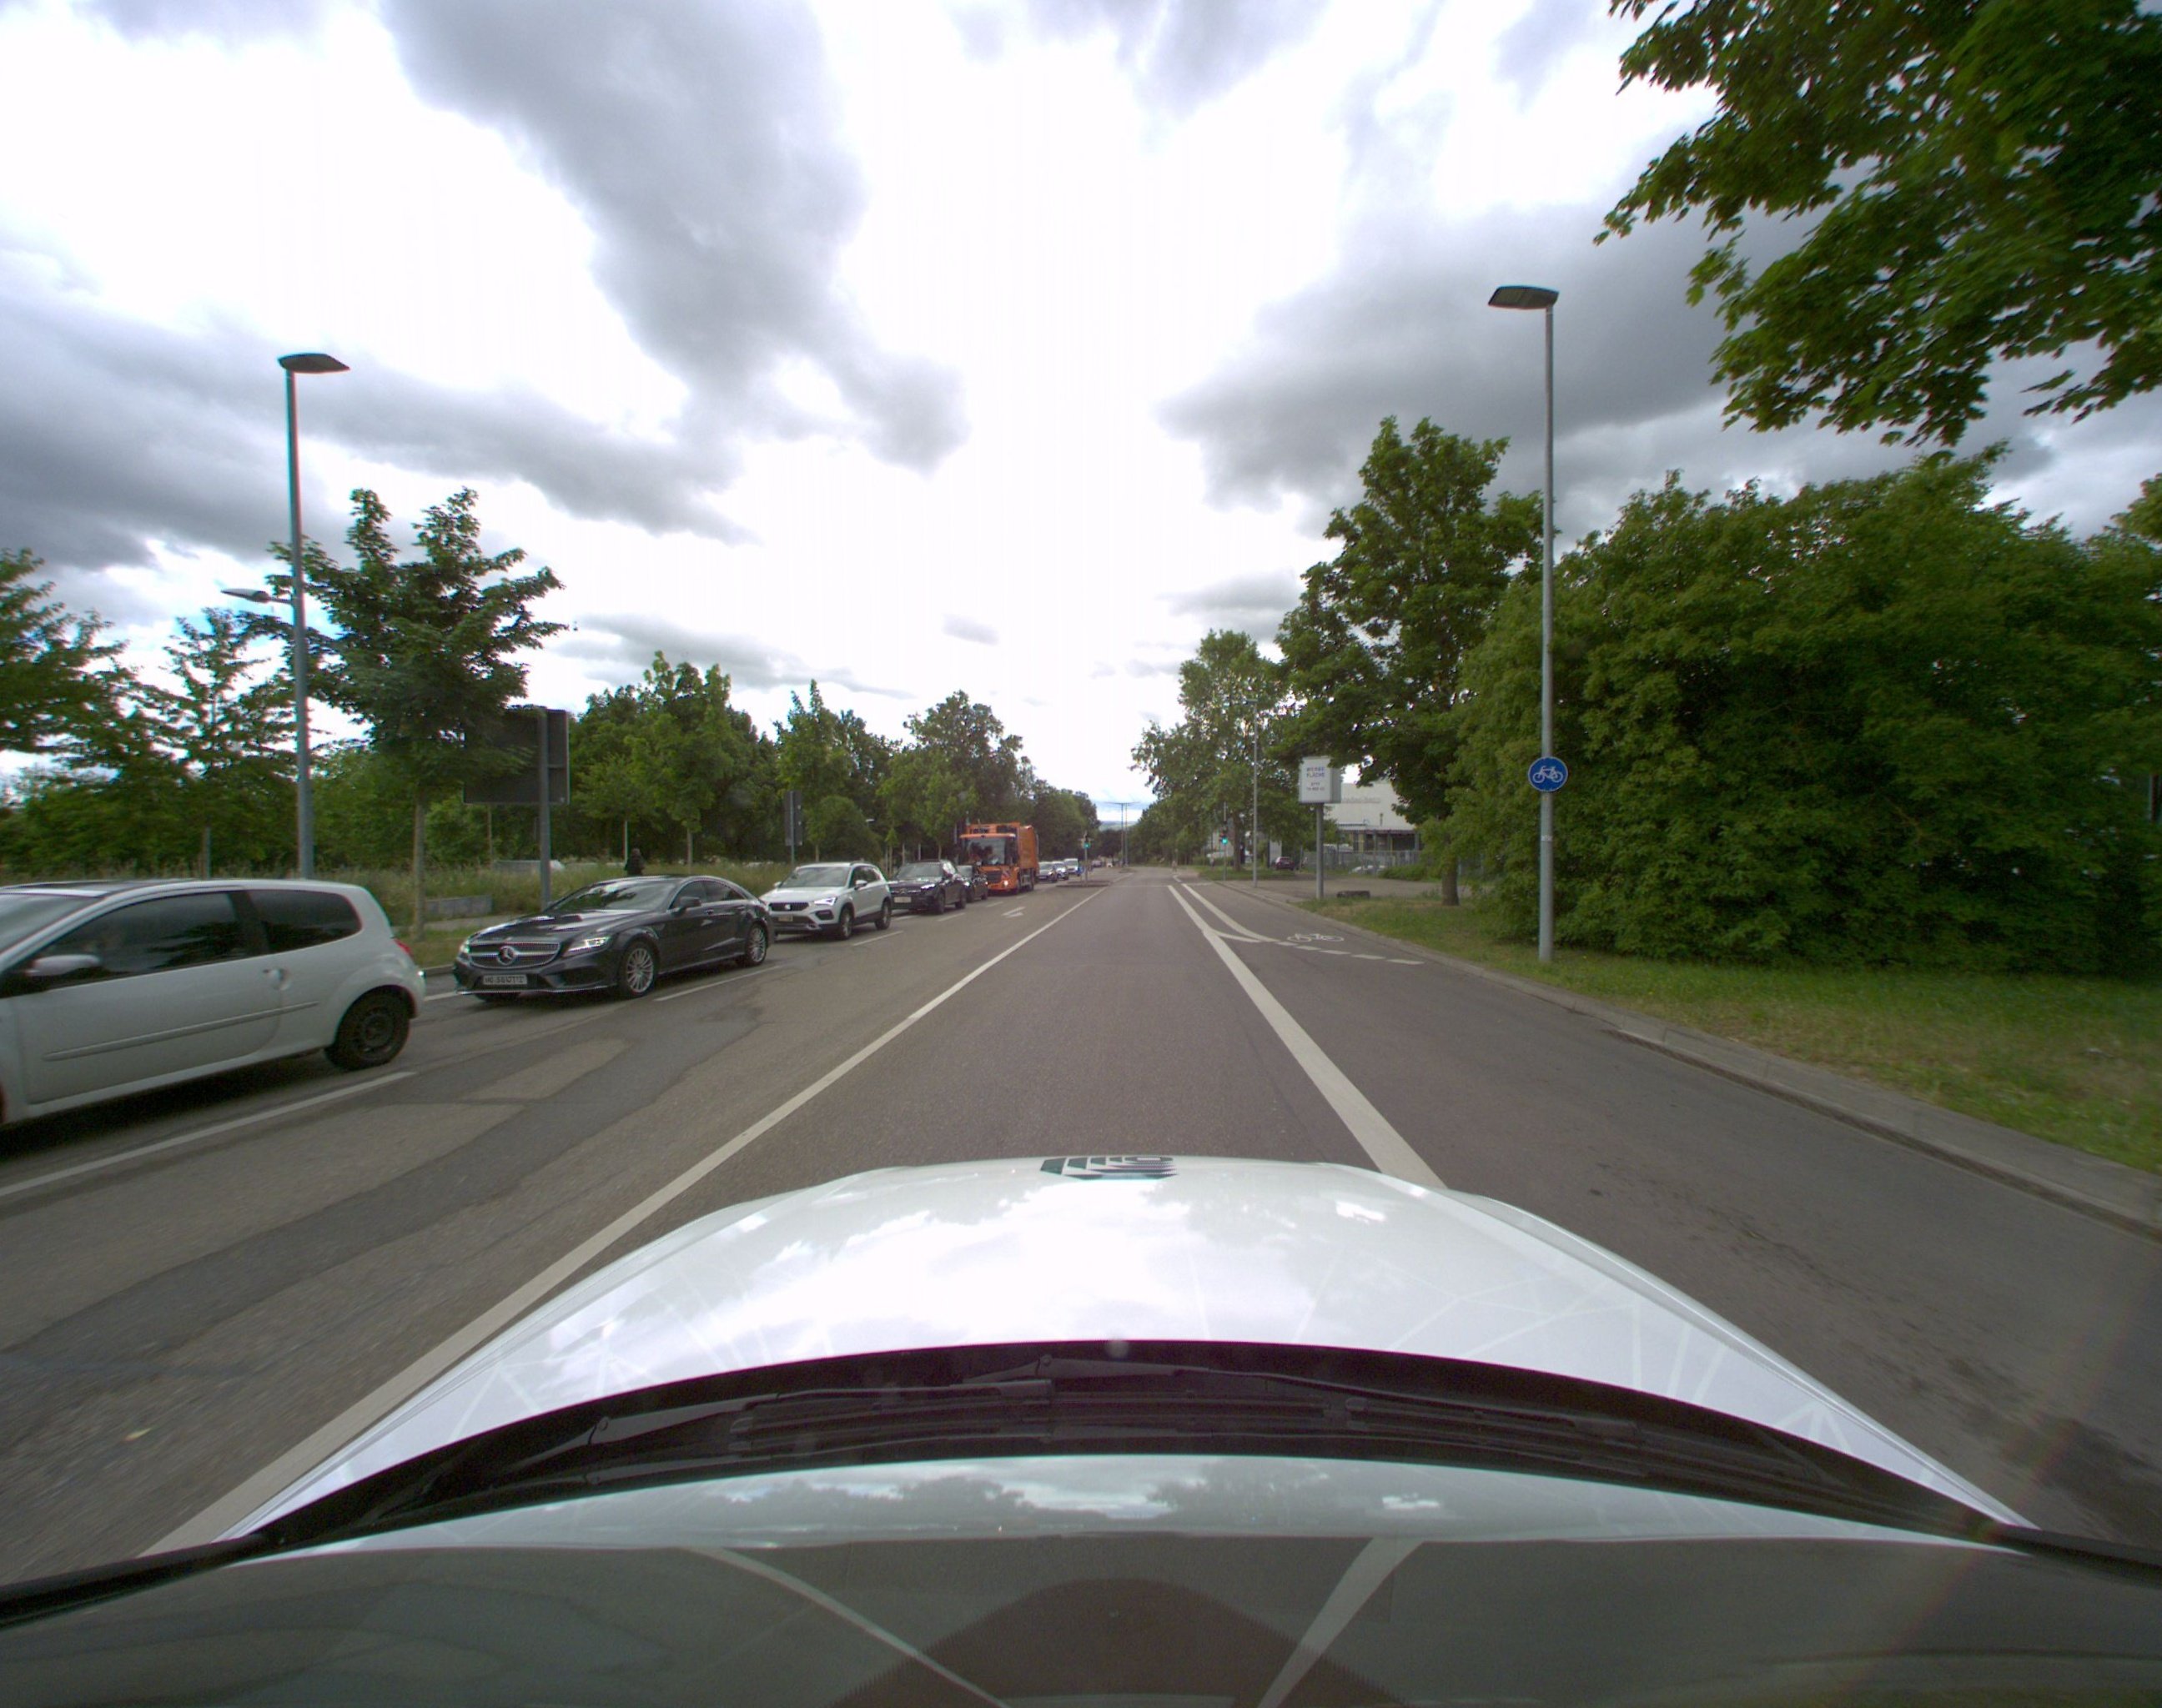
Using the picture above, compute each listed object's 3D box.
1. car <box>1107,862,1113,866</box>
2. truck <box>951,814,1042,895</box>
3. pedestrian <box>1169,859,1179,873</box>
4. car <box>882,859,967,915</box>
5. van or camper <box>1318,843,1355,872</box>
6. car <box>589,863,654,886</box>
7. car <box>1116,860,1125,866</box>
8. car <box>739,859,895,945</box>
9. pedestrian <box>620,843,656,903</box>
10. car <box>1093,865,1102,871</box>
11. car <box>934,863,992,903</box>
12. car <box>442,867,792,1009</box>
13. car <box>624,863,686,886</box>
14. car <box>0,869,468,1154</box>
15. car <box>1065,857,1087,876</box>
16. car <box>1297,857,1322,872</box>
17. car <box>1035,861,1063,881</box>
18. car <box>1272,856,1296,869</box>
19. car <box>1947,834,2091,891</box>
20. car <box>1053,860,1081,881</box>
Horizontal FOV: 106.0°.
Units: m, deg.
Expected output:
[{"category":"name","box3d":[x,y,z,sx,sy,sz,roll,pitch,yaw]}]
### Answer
[{"category":"car","box3d":[8.679,3.058,245.152,1.604,1.305,4.004,0,-1,4]},{"category":"truck","box3d":[-3.936,0.027,40.538,2.693,3.487,10.007,0,0,5]},{"category":"pedestrian","box3d":[10.124,1.304,88.576,0.790,1.463,0.745,-1,-1,-15]},{"category":"car","box3d":[-4.800,0.963,25.521,1.632,1.585,4.065,0,0,4]},{"category":"van or camper","box3d":[26.570,0.331,84.943,1.957,2.868,6.923,-1,0,2]},{"category":"car","box3d":[-43.315,1.888,76.823,4.948,2.014,2.001,-1,-1,1]},{"category":"car","box3d":[7.883,1.815,162.563,1.604,1.305,4.004,0,-1,4]},{"category":"car","box3d":[-5.500,0.926,17.550,1.723,1.585,4.228,0,0,4]},{"category":"pedestrian","box3d":[-13.789,0.595,25.388,0.717,1.835,0.678,-1,-1,4]},{"category":"car","box3d":[3.922,3.272,192.197,1.764,1.305,4.004,0,-1,4]},{"category":"car","box3d":[-4.577,1.092,32.077,1.427,1.457,3.899,0,0,4]},{"category":"car","box3d":[-5.723,0.918,10.945,1.632,1.390,4.890,0,0,4]},{"category":"car","box3d":[-41.655,1.995,79.623,4.951,2.190,1.999,-1,-1,-1]},{"category":"car","box3d":[-6.233,0.832,5.189,1.632,1.390,3.766,0,0,4]},{"category":"car","box3d":[-0.453,1.239,82.058,1.838,1.803,4.654,-3,-1,3]},{"category":"car","box3d":[23.786,1.088,84.766,1.702,1.508,4.350,1,0,5]},{"category":"car","box3d":[-2.246,1.210,58.222,1.540,1.331,3.657,-3,-1,4]},{"category":"car","box3d":[21.138,0.866,84.848,1.702,1.354,4.350,-1,0,5]},{"category":"car","box3d":[46.714,0.517,40.721,1.987,2.326,4.426,9,-4,1]},{"category":"car","box3d":[-1.074,1.317,66.277,1.838,1.520,4.819,-3,-1,3]}]
